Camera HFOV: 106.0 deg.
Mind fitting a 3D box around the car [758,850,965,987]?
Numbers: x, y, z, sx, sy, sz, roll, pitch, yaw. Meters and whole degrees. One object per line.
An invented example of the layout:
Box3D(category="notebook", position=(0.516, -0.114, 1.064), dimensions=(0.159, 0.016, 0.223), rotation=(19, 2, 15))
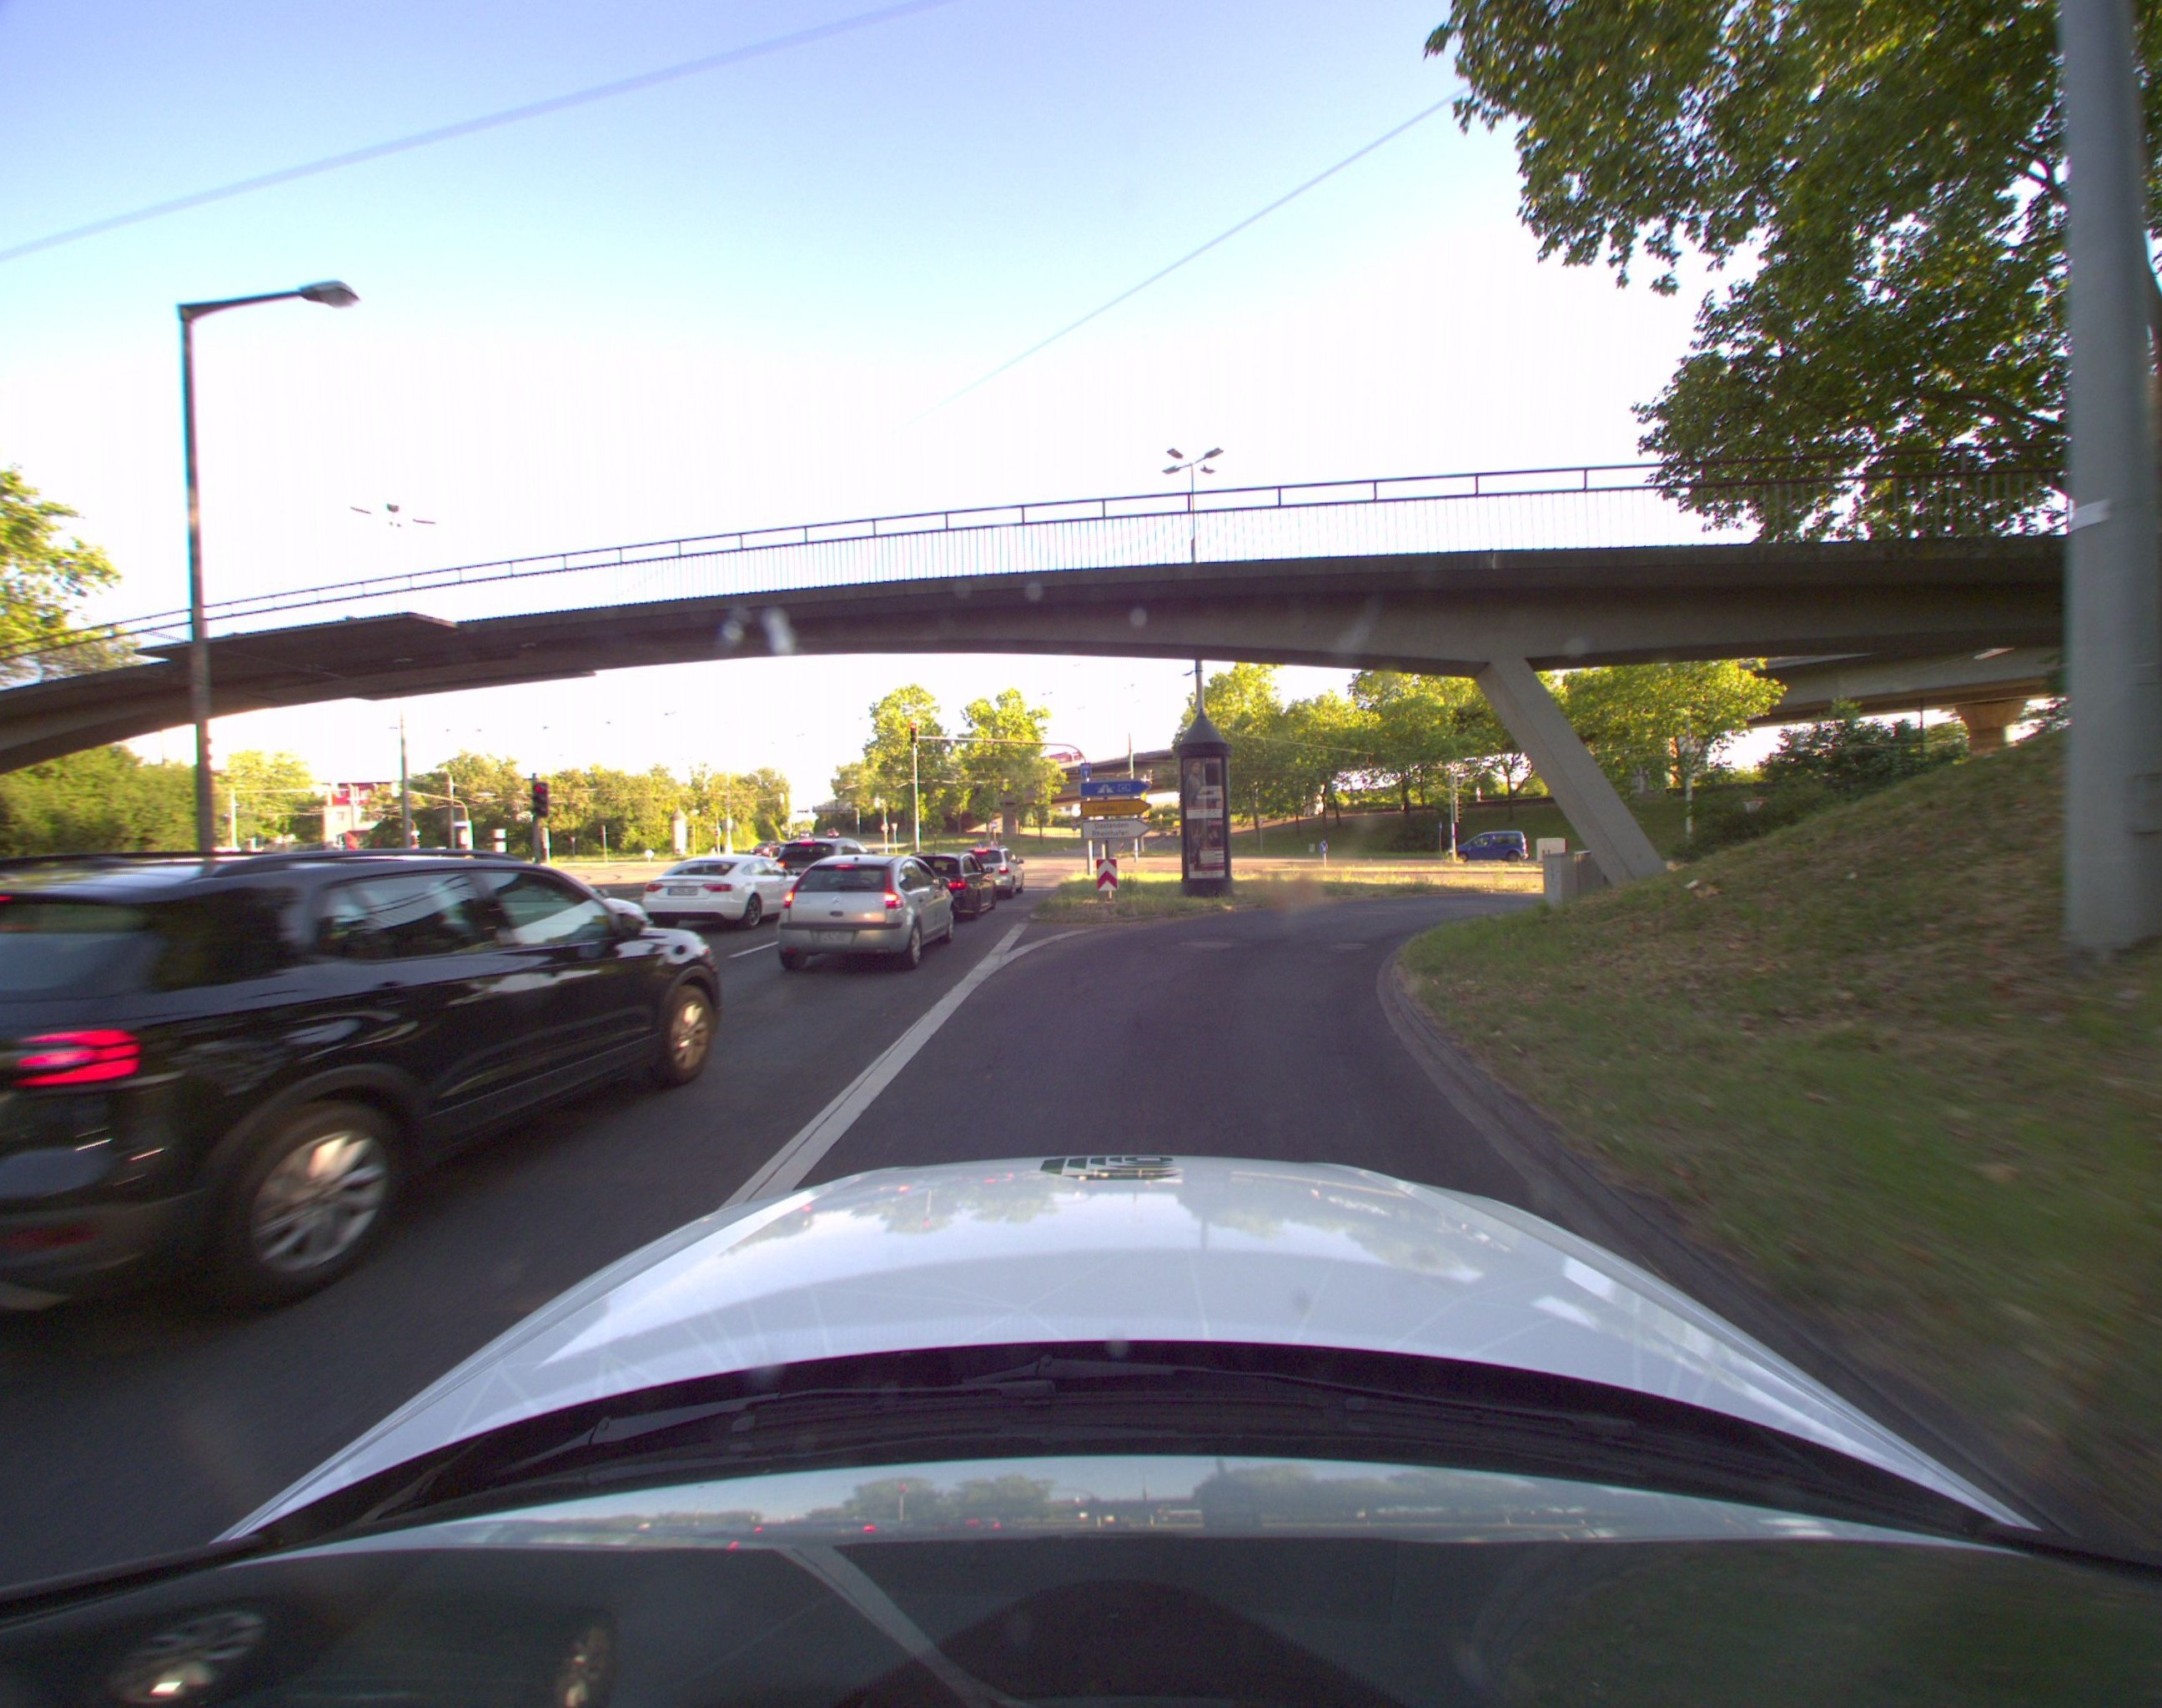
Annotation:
Box3D(category="car", position=(-2.943, 0.769, 11.851), dimensions=(1.786, 1.481, 4.001), rotation=(-4, 1, 1))

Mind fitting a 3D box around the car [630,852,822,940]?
Box3D(category="car", position=(-6.867, 0.725, 16.358), dimensions=(1.735, 1.432, 4.415), rotation=(-1, 1, 2))

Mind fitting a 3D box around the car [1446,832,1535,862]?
Box3D(category="car", position=(23.933, -0.425, 47.798), dimensions=(4.465, 1.692, 2.011), rotation=(0, 1, 20))

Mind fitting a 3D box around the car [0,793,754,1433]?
Box3D(category="car", position=(-3.490, 0.717, 4.244), dimensions=(1.786, 1.749, 4.001), rotation=(-4, 1, 1))

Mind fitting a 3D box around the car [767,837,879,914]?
Box3D(category="car", position=(-6.995, 0.491, 22.648), dimensions=(1.789, 1.792, 4.819), rotation=(-4, 1, -4))

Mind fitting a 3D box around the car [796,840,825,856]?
Box3D(category="car", position=(-29.217, -0.647, 88.117), dimensions=(1.873, 1.575, 3.674), rotation=(-1, 1, -1))

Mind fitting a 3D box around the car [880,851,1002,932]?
Box3D(category="car", position=(-2.936, 0.720, 18.043), dimensions=(1.786, 1.382, 4.477), rotation=(-4, 1, 1))

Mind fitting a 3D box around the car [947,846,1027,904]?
Box3D(category="car", position=(-2.709, 0.559, 24.402), dimensions=(1.786, 1.441, 4.001), rotation=(-4, 1, 1))

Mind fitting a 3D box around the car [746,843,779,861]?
Box3D(category="car", position=(-33.277, -0.220, 85.090), dimensions=(1.873, 1.771, 3.999), rotation=(-1, 1, -1))

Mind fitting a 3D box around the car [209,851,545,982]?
Box3D(category="car", position=(-10.663, 0.820, 12.813), dimensions=(1.657, 1.565, 4.001), rotation=(-4, 1, 1))

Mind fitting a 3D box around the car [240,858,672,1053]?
Box3D(category="car", position=(-6.747, 0.935, 9.523), dimensions=(1.657, 1.565, 4.191), rotation=(-4, 1, 1))

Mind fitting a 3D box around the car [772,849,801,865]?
Box3D(category="car", position=(-33.583, 0.333, 92.974), dimensions=(1.873, 1.771, 3.999), rotation=(-1, 1, -1))
